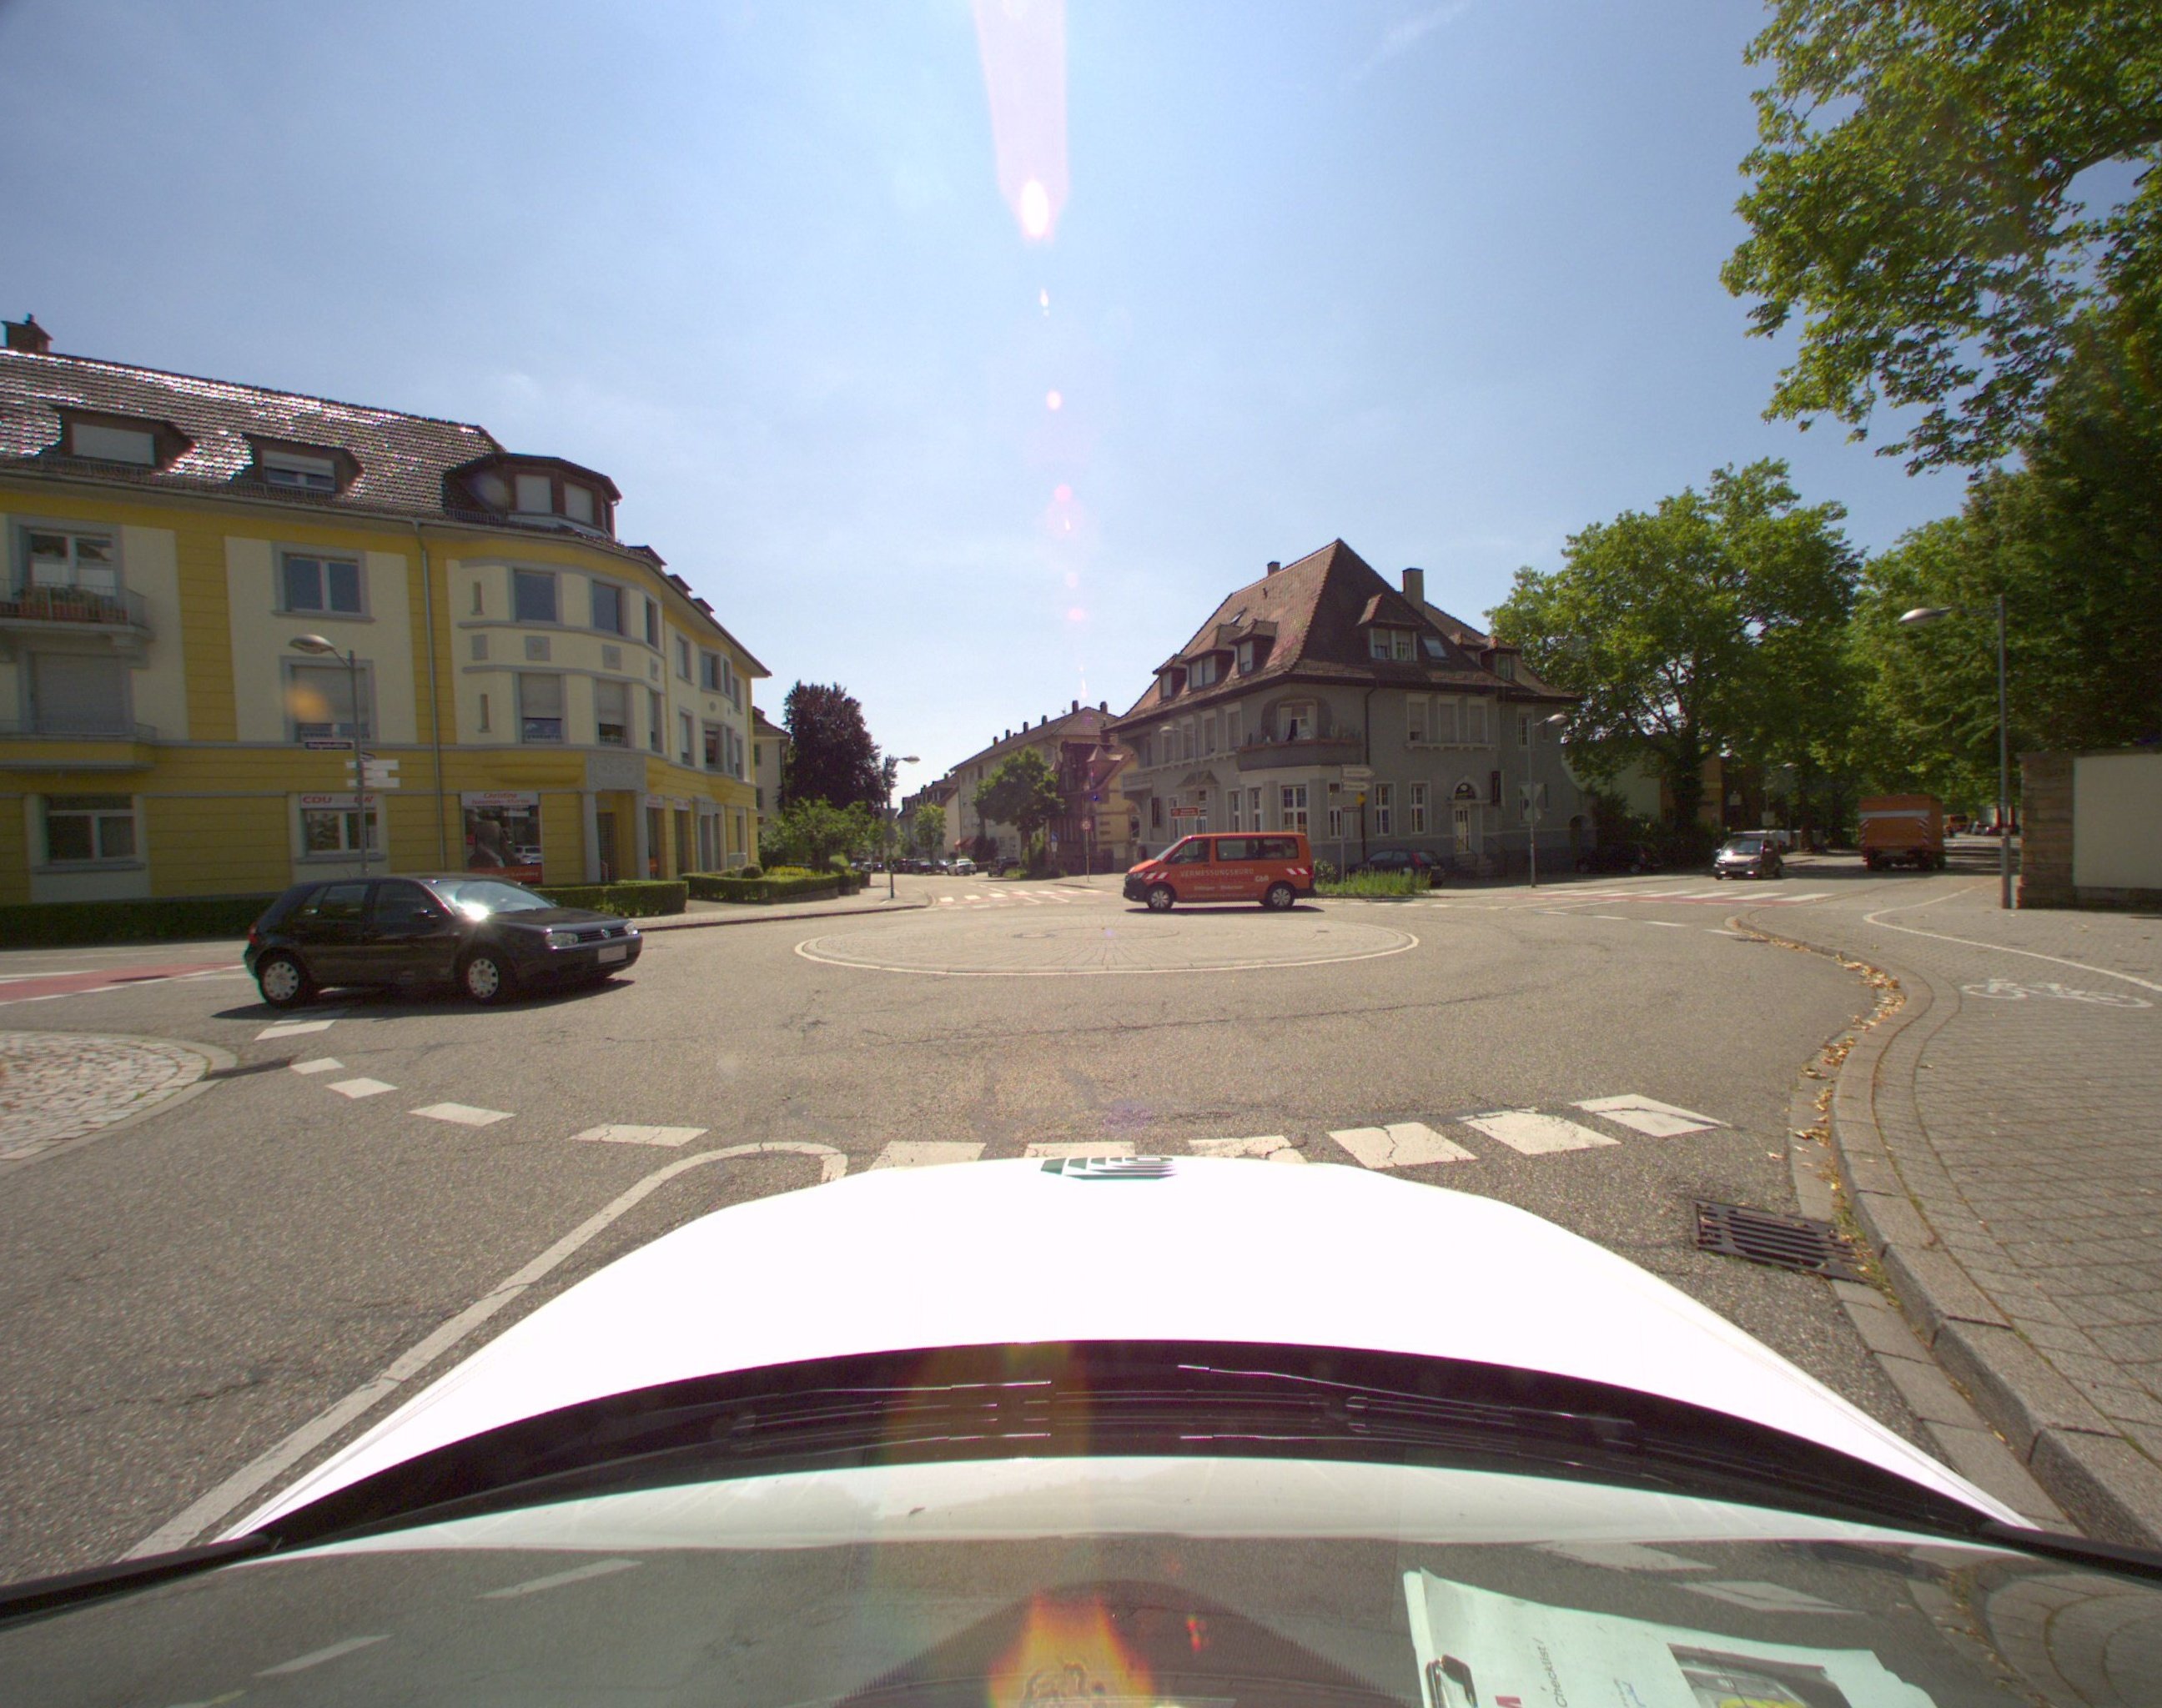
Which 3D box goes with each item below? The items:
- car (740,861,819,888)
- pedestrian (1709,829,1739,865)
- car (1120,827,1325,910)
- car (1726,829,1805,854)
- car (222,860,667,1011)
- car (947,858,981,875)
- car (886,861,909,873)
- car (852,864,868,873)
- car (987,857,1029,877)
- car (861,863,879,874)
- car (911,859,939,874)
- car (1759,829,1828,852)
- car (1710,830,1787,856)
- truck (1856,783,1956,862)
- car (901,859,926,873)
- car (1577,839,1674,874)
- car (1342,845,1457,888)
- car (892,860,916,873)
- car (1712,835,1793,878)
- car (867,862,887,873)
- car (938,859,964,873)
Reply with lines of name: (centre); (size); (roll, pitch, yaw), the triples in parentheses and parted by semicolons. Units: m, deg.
car: (-19.063, 1.271, 51.535); (4.432, 1.509, 1.981); (-2, 0, -30)
pedestrian: (31.565, -0.343, 39.991); (1.118, 1.742, 0.865); (-1, 0, -38)
car: (3.523, 0.360, 21.040); (4.985, 1.959, 1.951); (-1, 1, 1)
car: (52.530, -0.995, 62.523); (1.913, 1.804, 4.385); (-1, 2, -41)
car: (-7.356, 0.910, 9.631); (4.023, 1.447, 1.720); (-2, 1, 7)
car: (-11.008, 1.167, 76.098); (2.003, 1.509, 4.383); (-1, 0, -24)
car: (-23.601, 1.675, 104.537); (2.003, 1.509, 4.383); (-1, 0, -24)
car: (-36.524, 2.397, 134.452); (2.002, 1.488, 3.969); (0, -1, -23)
car: (-5.869, 1.031, 65.095); (2.003, 1.509, 4.383); (-1, 0, -24)
car: (-32.177, 2.168, 124.188); (2.003, 1.509, 4.383); (-1, 0, -24)
car: (-17.215, 1.375, 89.803); (2.003, 1.509, 4.383); (-1, 0, -24)
car: (58.994, -1.124, 67.457); (1.913, 1.804, 4.093); (-1, 2, -41)
car: (47.301, -0.817, 57.718); (1.878, 1.792, 3.953); (-1, 2, -41)
truck: (35.599, -1.237, 35.093); (5.797, 3.134, 2.351); (0, -1, -38)
car: (-19.617, 1.433, 95.299); (2.003, 1.509, 4.383); (-1, 0, -24)
car: (25.481, 0.105, 38.189); (1.728, 1.546, 3.362); (-1, 0, -28)
car: (11.756, 0.440, 30.263); (1.728, 1.460, 3.758); (-1, 0, -28)
car: (-21.829, 1.560, 100.174); (2.003, 1.509, 4.383); (-1, 0, -24)
car: (25.368, 0.080, 30.756); (2.799, 1.530, 1.554); (-1, 0, -33)
car: (-29.810, 1.999, 118.850); (2.003, 1.509, 4.383); (-1, 0, -24)
car: (-15.128, 1.399, 94.643); (2.003, 1.509, 4.383); (-1, 0, -24)
